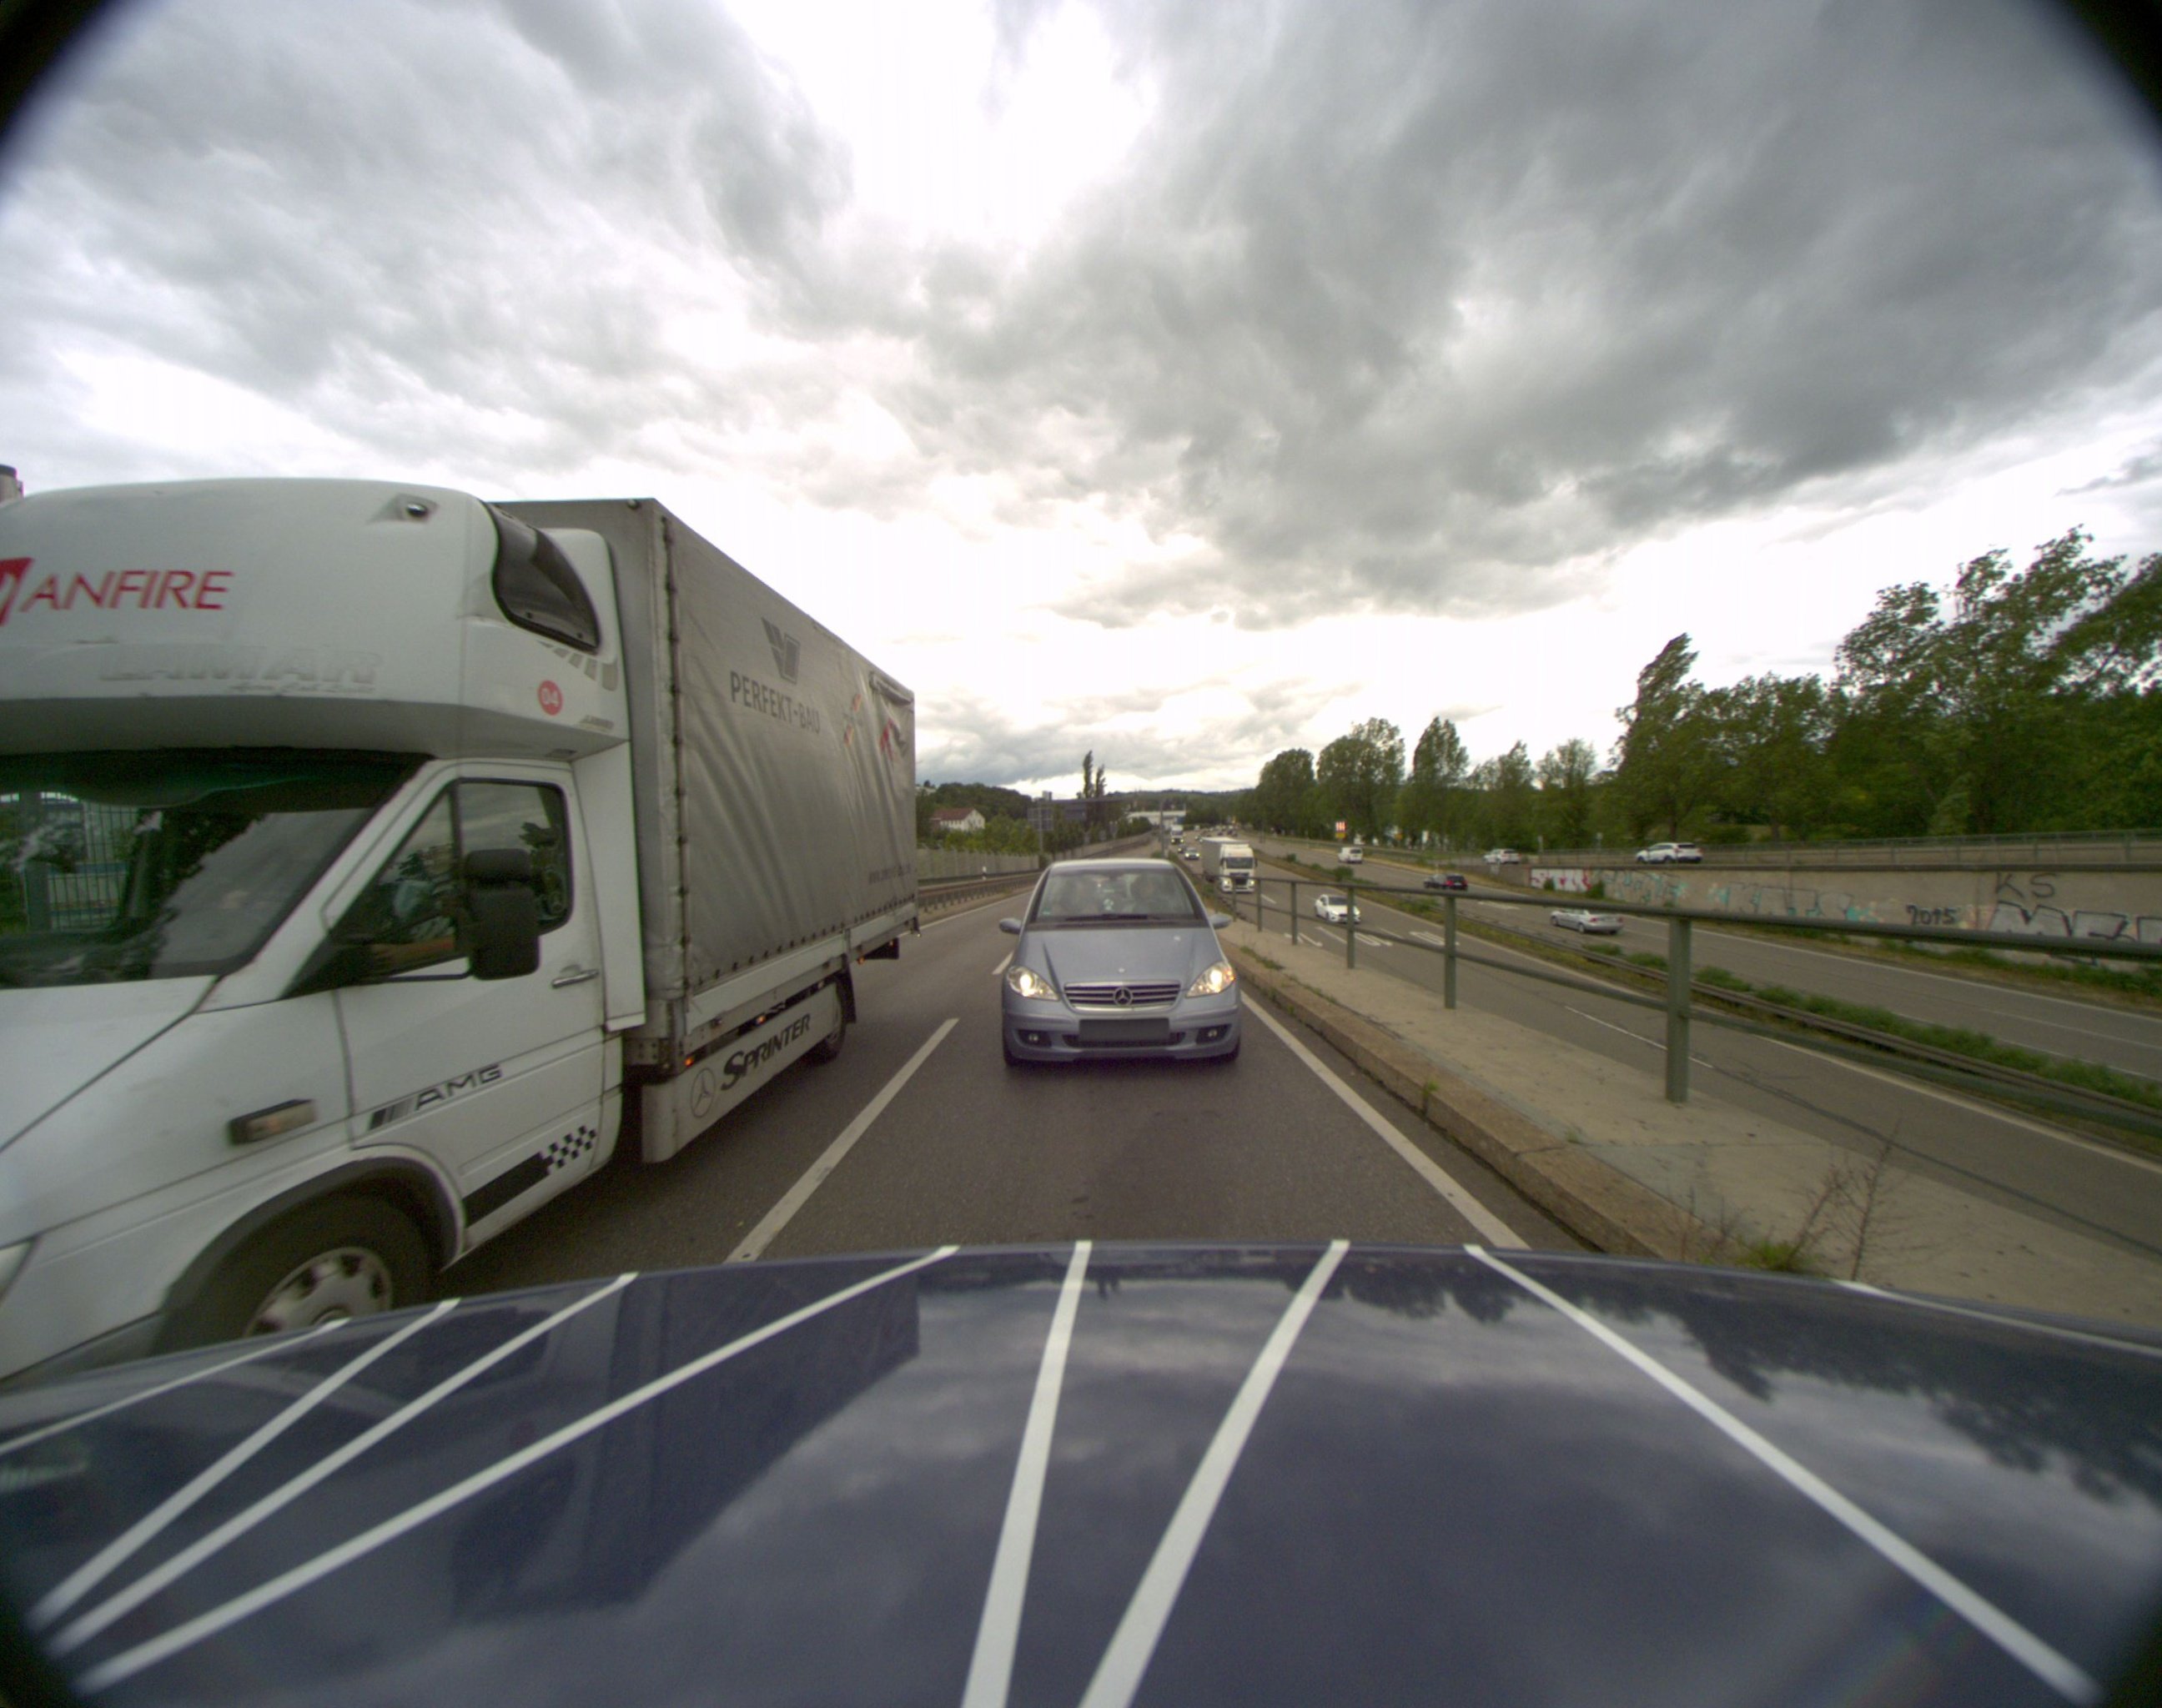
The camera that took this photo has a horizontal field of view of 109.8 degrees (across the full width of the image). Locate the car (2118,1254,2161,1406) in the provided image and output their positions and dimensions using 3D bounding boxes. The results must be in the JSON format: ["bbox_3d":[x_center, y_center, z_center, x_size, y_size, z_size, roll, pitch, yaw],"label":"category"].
[{"bbox_3d":[11.998,5.149,6.081,1.756,1.433,4.163,-1,4,4],"label":"car"}]

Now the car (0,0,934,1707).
[{"bbox_3d":[-3.035,0.091,4.608,2.665,3.310,7.090,-2,1,1],"label":"car"}]

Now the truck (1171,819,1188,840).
[{"bbox_3d":[22.113,-5.655,171.446,3.179,4.501,11.121,-1,3,4],"label":"truck"}]

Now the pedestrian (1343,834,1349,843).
[{"bbox_3d":[52.796,-3.018,151.560,0.831,1.696,1.077,-2,4,3],"label":"pedestrian"}]

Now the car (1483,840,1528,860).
[{"bbox_3d":[41.003,-0.360,73.548,1.998,1.859,4.213,-1,0,1],"label":"car"}]

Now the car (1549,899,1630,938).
[{"bbox_3d":[26.774,3.352,40.154,1.732,1.520,4.086,0,3,4],"label":"car"}]

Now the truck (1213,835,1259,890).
[{"bbox_3d":[12.941,0.574,63.837,2.758,4.228,6.695,0,3,2],"label":"truck"}]

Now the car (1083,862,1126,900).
[{"bbox_3d":[1.129,1.190,35.199,1.780,1.578,4.001,-1,0,4],"label":"car"}]

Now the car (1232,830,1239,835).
[{"bbox_3d":[50.020,-6.934,246.647,1.714,1.368,4.109,0,3,4],"label":"car"}]

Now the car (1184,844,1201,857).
[{"bbox_3d":[15.718,-0.555,107.412,1.858,1.598,4.164,-1,3,2],"label":"car"}]

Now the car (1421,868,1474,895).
[{"bbox_3d":[28.438,2.110,59.127,1.920,1.729,4.550,-1,3,0],"label":"car"}]

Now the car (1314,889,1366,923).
[{"bbox_3d":[15.426,3.075,45.421,1.919,1.411,4.275,-1,4,4],"label":"car"}]

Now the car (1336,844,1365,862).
[{"bbox_3d":[34.018,-0.151,96.073,1.998,2.056,5.175,-2,3,2],"label":"car"}]

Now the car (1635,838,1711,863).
[{"bbox_3d":[39.760,-0.215,51.151,1.837,1.567,4.347,-1,0,3],"label":"car"}]

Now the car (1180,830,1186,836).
[{"bbox_3d":[33.047,-6.790,245.207,1.857,1.598,4.166,1,3,7],"label":"car"}]

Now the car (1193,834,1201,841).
[{"bbox_3d":[30.935,-4.412,202.711,1.857,1.598,4.166,2,3,7],"label":"car"}]

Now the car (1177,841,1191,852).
[{"bbox_3d":[17.242,-1.349,126.814,1.858,1.598,4.164,3,3,2],"label":"car"}]

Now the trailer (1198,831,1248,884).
[{"bbox_3d":[13.236,0.134,71.776,2.758,4.228,13.146,0,3,2],"label":"trailer"}]

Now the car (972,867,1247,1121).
[{"bbox_3d":[0.274,0.970,7.022,1.780,1.578,4.001,-1,0,3],"label":"car"}]
